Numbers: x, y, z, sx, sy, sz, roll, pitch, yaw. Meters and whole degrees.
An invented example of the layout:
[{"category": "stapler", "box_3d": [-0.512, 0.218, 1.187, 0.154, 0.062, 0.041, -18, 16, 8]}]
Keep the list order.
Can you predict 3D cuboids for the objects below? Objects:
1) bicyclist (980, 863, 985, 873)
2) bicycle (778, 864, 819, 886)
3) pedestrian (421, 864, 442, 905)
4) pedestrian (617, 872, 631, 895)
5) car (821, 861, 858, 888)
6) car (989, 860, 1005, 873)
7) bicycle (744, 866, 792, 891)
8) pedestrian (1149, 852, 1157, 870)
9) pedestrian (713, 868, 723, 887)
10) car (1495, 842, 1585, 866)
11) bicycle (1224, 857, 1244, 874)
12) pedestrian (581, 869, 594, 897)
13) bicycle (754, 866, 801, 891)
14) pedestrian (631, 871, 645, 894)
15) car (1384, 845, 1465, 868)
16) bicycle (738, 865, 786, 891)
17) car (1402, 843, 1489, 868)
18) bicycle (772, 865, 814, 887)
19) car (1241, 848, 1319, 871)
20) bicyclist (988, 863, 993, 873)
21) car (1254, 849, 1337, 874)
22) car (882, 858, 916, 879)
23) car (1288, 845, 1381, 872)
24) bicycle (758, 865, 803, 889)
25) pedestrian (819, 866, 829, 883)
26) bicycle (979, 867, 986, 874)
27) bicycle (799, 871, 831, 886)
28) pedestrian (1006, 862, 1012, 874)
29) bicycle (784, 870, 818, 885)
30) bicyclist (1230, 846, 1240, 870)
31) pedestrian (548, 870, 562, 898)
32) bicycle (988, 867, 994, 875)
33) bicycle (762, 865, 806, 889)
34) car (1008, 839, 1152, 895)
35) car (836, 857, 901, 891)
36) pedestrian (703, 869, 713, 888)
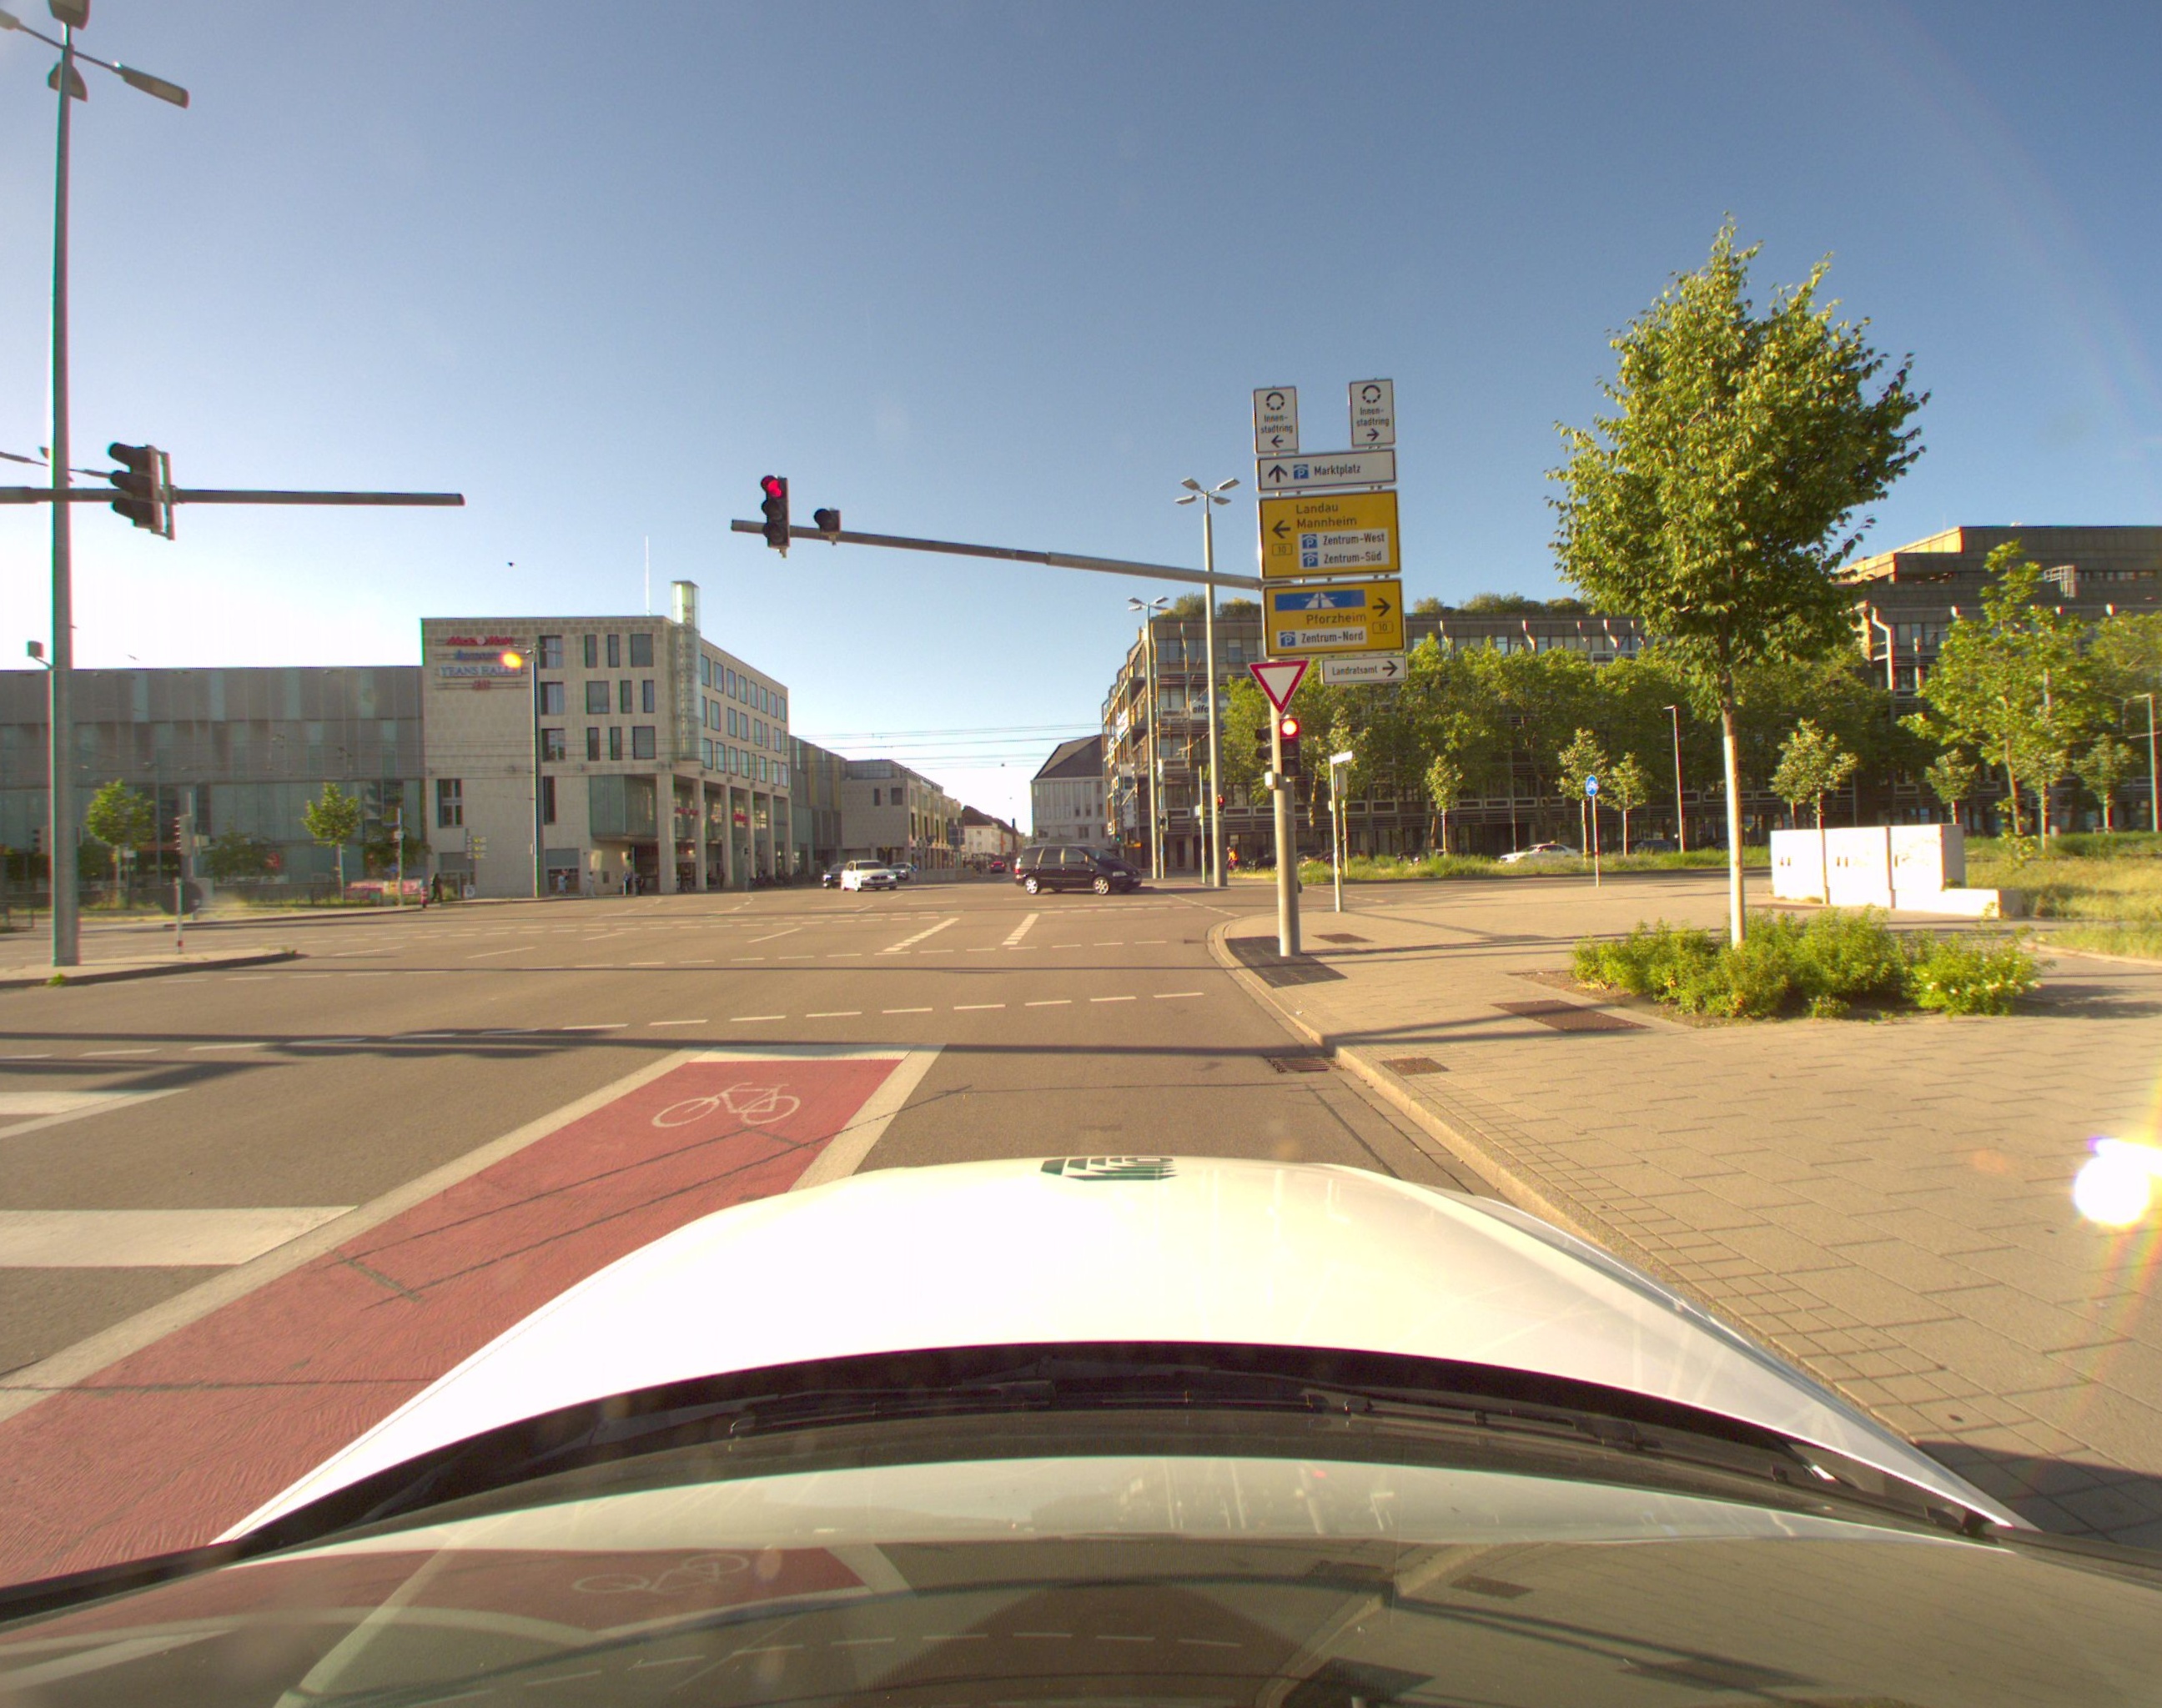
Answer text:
[{"category": "bicyclist", "box_3d": [-14.749, 2.034, 121.934, 0.744, 1.461, 0.766, -2, 0, -2]}, {"category": "bicycle", "box_3d": [-27.789, 2.079, 80.245, 3.613, 2.013, 0.901, -2, 0, -4]}, {"category": "pedestrian", "box_3d": [-32.444, 1.535, 40.687, 0.515, 2.013, 0.622, -2, 0, -12]}, {"category": "pedestrian", "box_3d": [-32.976, 2.103, 58.783, 0.621, 1.608, 0.653, -2, 0, 0]}, {"category": "car", "box_3d": [-14.704, 1.230, 49.772, 1.997, 1.530, 4.015, -2, 0, -15]}, {"category": "car", "box_3d": [-11.152, 1.672, 108.692, 1.991, 1.552, 3.992, -2, 0, -5]}, {"category": "bicycle", "box_3d": [-27.195, 2.095, 70.755, 3.613, 2.013, 1.085, -2, 0, -4]}, {"category": "pedestrian", "box_3d": [5.920, 0.575, 66.952, 0.619, 1.519, 0.655, -2, 0, 9]}, {"category": "pedestrian", "box_3d": [-31.879, 2.069, 71.577, 0.627, 1.608, 0.646, -2, 0, -35]}, {"category": "car", "box_3d": [29.052, -0.011, 51.602, 4.620, 1.356, 1.998, -2, 1, -3]}, {"category": "bicycle", "box_3d": [8.865, 0.655, 47.137, 1.072, 0.971, 0.458, -2, 0, 2]}, {"category": "pedestrian", "box_3d": [-36.346, 2.099, 59.967, 0.622, 2.013, 0.515, -2, 0, -8]}, {"category": "bicycle", "box_3d": [-26.881, 2.133, 72.213, 3.613, 2.013, 1.085, -2, 0, -4]}, {"category": "pedestrian", "box_3d": [-31.968, 2.076, 58.733, 0.621, 1.608, 0.653, -2, 0, 0]}, {"category": "car", "box_3d": [23.136, 0.179, 54.998, 4.620, 1.356, 1.998, -2, 1, -3]}, {"category": "bicycle", "box_3d": [-27.173, 2.037, 69.417, 3.617, 2.013, 1.084, -2, 0, -7]}, {"category": "car", "box_3d": [22.966, 0.080, 51.401, 4.620, 1.356, 1.998, -2, 1, -3]}, {"category": "bicycle", "box_3d": [-27.678, 2.113, 78.402, 3.613, 2.013, 0.901, -2, 0, -4]}, {"category": "car", "box_3d": [13.084, 0.351, 53.783, 4.620, 1.356, 1.998, -2, 1, -3]}, {"category": "bicyclist", "box_3d": [-13.617, 2.121, 122.727, 0.744, 1.461, 0.766, -2, 0, -2]}, {"category": "car", "box_3d": [13.321, 0.457, 50.839, 4.620, 1.356, 1.998, -2, 1, -3]}, {"category": "car", "box_3d": [-15.611, 1.279, 69.929, 1.988, 1.623, 4.234, -3, -2, -2]}, {"category": "car", "box_3d": [14.292, 0.243, 46.135, 4.620, 1.356, 1.998, -2, 1, -3]}, {"category": "bicycle", "box_3d": [-27.708, 2.123, 75.164, 3.613, 2.013, 1.085, -2, 0, -4]}, {"category": "pedestrian", "box_3d": [-25.575, 2.012, 81.054, 0.746, 1.608, 0.619, -2, 0, -27]}, {"category": "bicycle", "box_3d": [-14.729, 2.451, 121.867, 0.739, 1.046, 2.429, -2, 0, -2]}, {"category": "bicycle", "box_3d": [-27.988, 2.538, 85.647, 3.044, 1.400, 0.901, -2, 0, -4]}, {"category": "pedestrian", "box_3d": [-9.601, 1.871, 108.844, 0.712, 1.668, 0.987, -2, 0, 1]}, {"category": "bicycle", "box_3d": [-27.918, 2.353, 81.222, 3.044, 1.400, 0.901, -2, 0, -4]}, {"category": "bicyclist", "box_3d": [8.903, 0.216, 47.142, 0.506, 1.338, 0.453, -2, 0, 3]}, {"category": "pedestrian", "box_3d": [-38.095, 2.152, 59.024, 0.622, 2.013, 0.515, -2, 0, -8]}, {"category": "bicycle", "box_3d": [-13.572, 2.557, 122.404, 0.739, 1.046, 2.429, -2, 0, -2]}, {"category": "bicycle", "box_3d": [-27.813, 2.143, 76.312, 3.613, 2.013, 1.085, -2, 0, -4]}, {"category": "car", "box_3d": [-0.062, 0.425, 28.238, 4.586, 1.742, 2.013, -1, 1, 33]}, {"category": "car", "box_3d": [-10.058, 0.901, 38.322, 2.004, 1.356, 4.606, -2, 1, -27]}, {"category": "pedestrian", "box_3d": [-32.455, 2.151, 70.919, 0.627, 1.608, 0.646, -2, 0, -35]}]
